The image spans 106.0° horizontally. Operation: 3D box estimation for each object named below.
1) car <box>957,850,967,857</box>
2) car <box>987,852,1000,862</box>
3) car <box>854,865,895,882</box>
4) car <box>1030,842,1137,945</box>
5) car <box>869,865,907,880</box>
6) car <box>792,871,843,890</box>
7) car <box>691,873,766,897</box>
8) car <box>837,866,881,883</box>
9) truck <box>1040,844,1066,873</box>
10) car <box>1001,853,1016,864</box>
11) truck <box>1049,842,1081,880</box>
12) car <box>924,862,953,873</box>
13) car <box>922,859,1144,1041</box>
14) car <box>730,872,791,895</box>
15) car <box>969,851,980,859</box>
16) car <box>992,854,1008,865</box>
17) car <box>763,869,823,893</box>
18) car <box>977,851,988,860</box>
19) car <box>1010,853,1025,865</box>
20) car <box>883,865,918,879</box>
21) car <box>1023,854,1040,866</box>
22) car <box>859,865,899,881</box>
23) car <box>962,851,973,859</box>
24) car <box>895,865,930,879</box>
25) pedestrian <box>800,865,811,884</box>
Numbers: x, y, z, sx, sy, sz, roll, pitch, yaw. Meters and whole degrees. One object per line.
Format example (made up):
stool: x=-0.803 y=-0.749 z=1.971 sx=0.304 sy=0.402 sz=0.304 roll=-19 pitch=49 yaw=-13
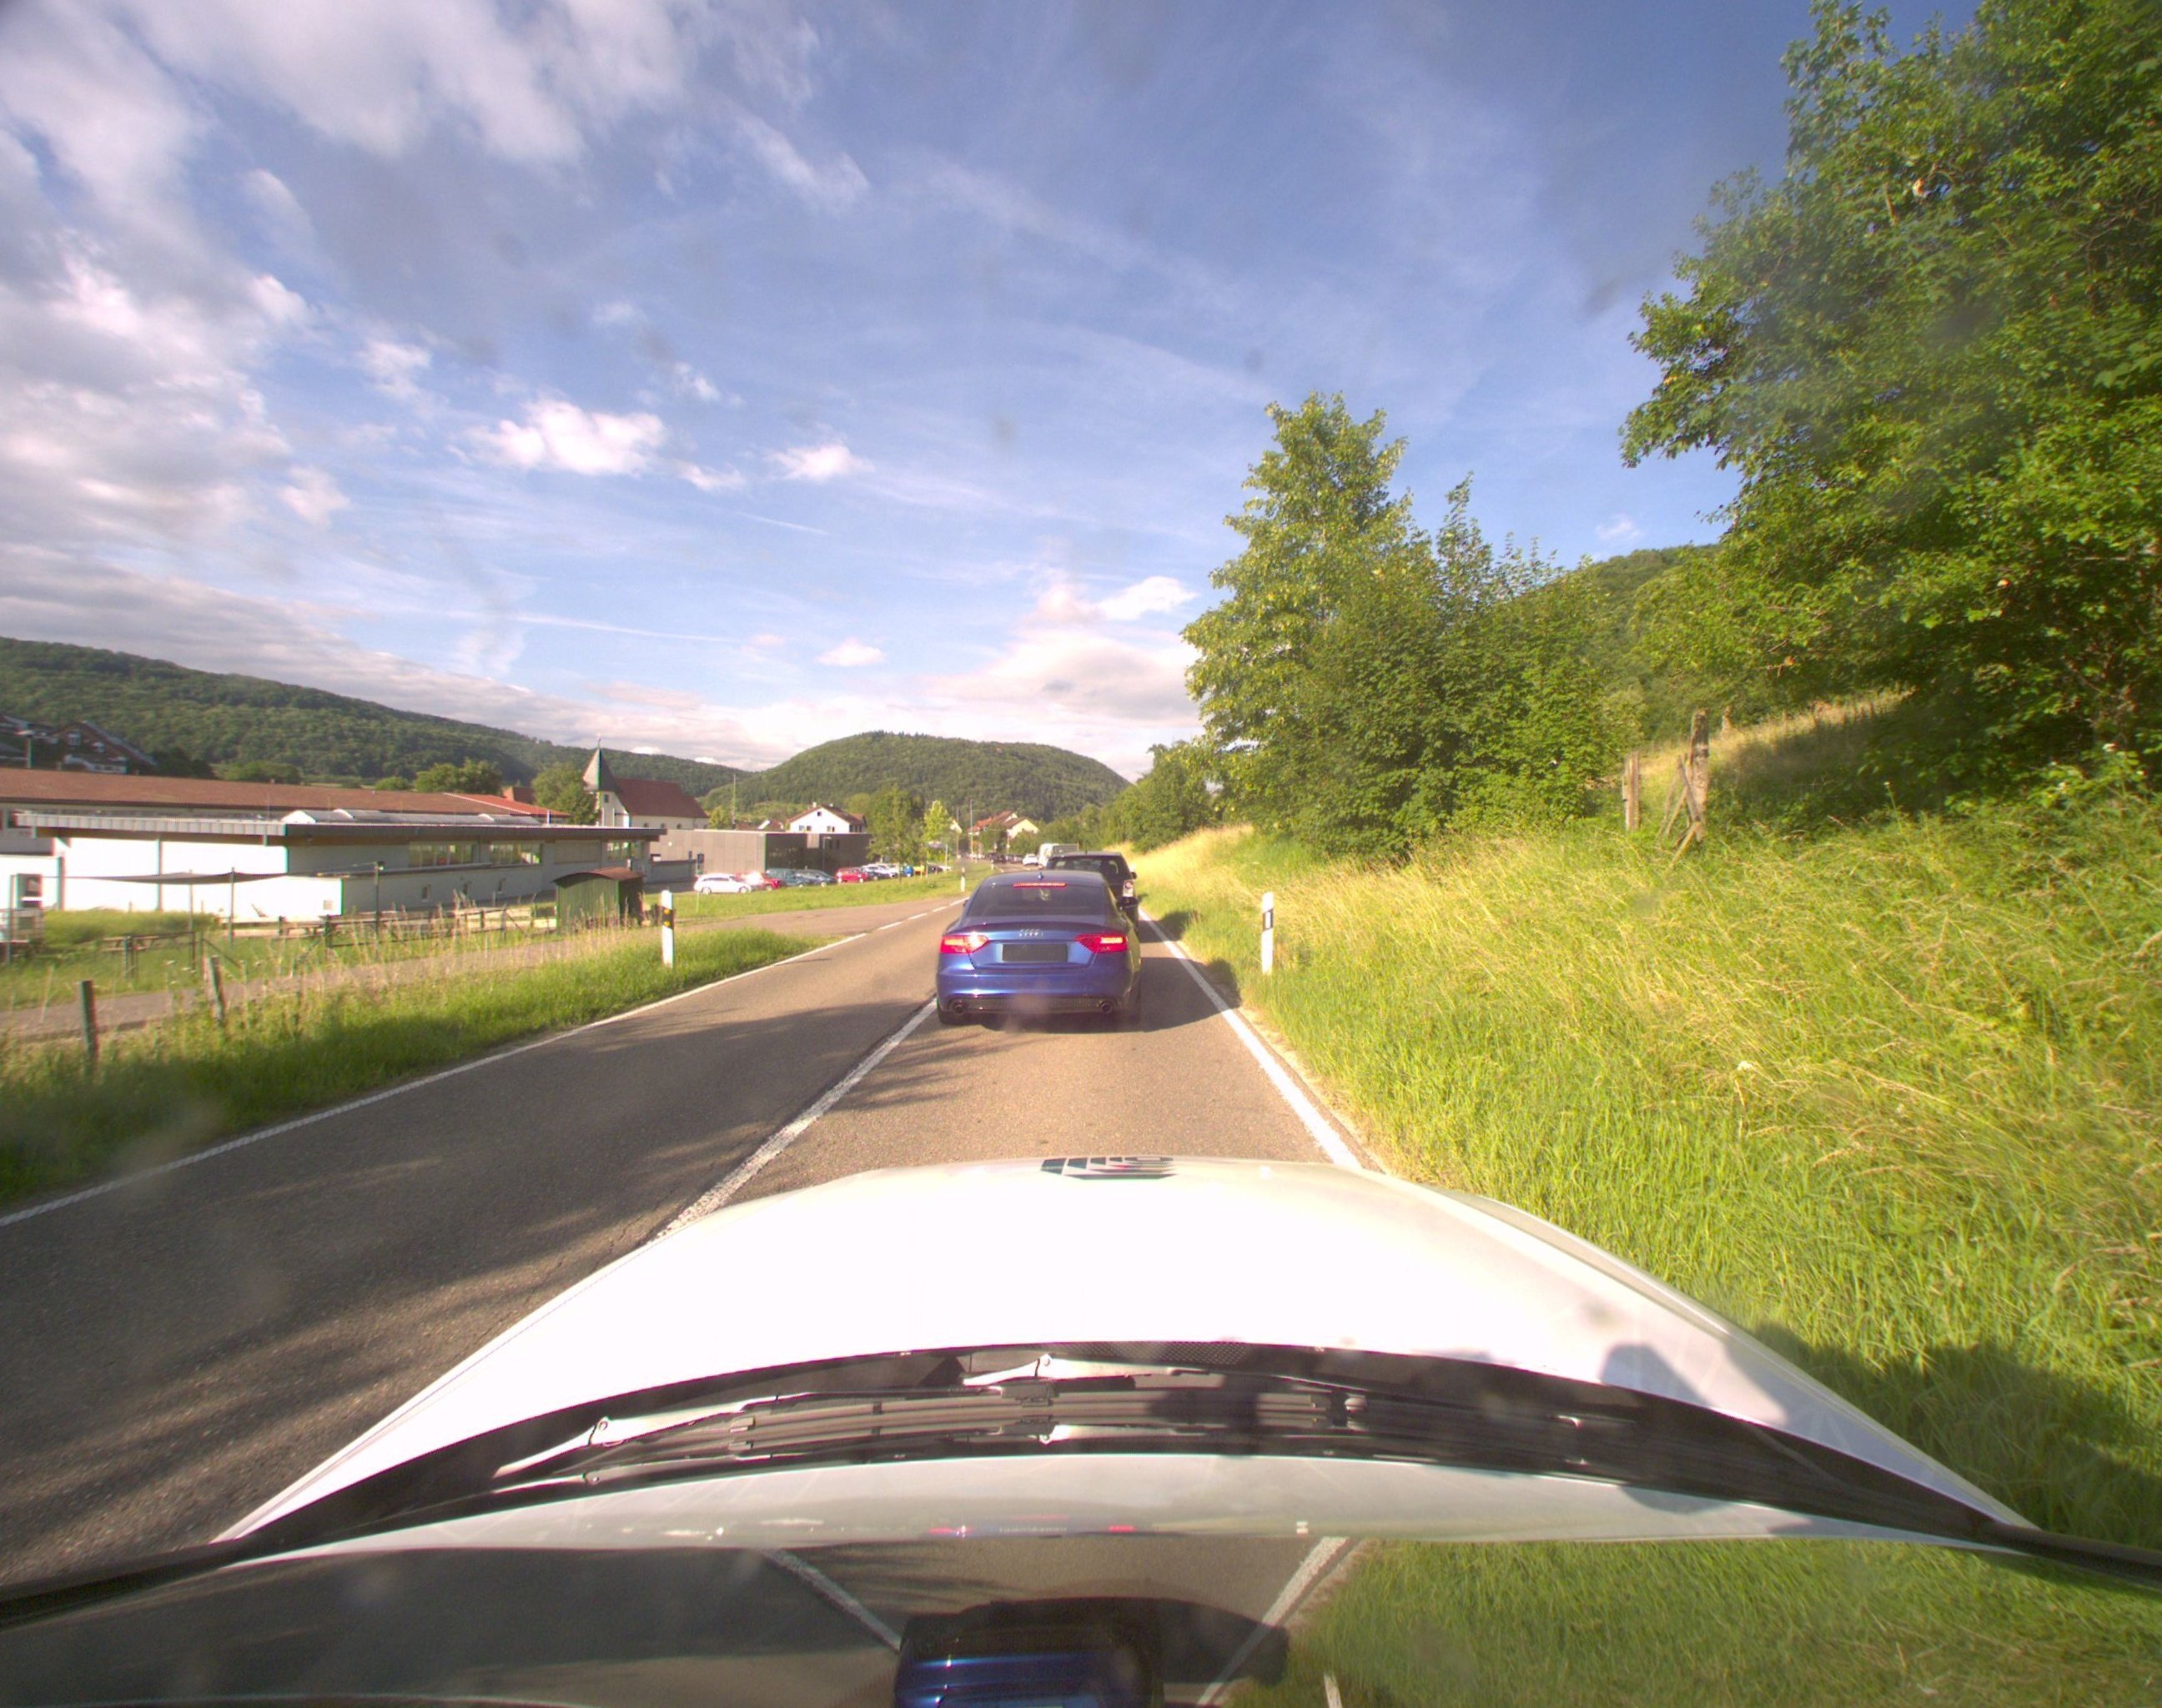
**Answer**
car: x=-28.339 y=-0.053 z=193.332 sx=1.849 sy=1.712 sz=3.978 roll=0 pitch=-1 yaw=-16
car: x=-16.444 y=0.544 z=152.936 sx=1.848 sy=1.712 sz=3.980 roll=0 pitch=-1 yaw=-14
car: x=-22.662 y=2.128 z=89.312 sx=3.975 sy=1.711 sz=1.999 roll=0 pitch=-1 yaw=-1
car: x=0.135 y=0.669 z=15.263 sx=1.747 sy=1.681 sz=3.849 roll=0 pitch=-1 yaw=3
car: x=-22.814 y=2.193 z=96.261 sx=3.975 sy=1.711 sz=1.999 roll=0 pitch=-1 yaw=-1
car: x=-24.101 y=2.422 z=74.489 sx=3.975 sy=1.711 sz=1.999 roll=0 pitch=-1 yaw=-1
car: x=-26.439 y=2.319 z=61.214 sx=4.717 sy=1.711 sz=1.999 roll=0 pitch=-1 yaw=-1
car: x=-23.105 y=2.090 z=84.771 sx=3.975 sy=1.711 sz=1.999 roll=0 pitch=-1 yaw=-1
truck: x=-2.661 y=0.421 z=75.199 sx=2.225 sy=2.570 sz=6.699 roll=0 pitch=-1 yaw=-3
car: x=-11.935 y=0.793 z=133.526 sx=1.848 sy=1.712 sz=3.980 roll=0 pitch=-1 yaw=-14
truck: x=-1.230 y=0.514 z=59.470 sx=2.224 sy=2.570 sz=6.098 roll=0 pitch=-1 yaw=-2
car: x=-20.824 y=1.943 z=119.258 sx=3.975 sy=1.579 sz=1.752 roll=0 pitch=-1 yaw=-1
car: x=-0.288 y=0.774 z=8.339 sx=1.747 sy=1.430 sz=3.849 roll=0 pitch=-1 yaw=3
car: x=-25.216 y=2.337 z=64.195 sx=3.975 sy=1.711 sz=1.999 roll=0 pitch=-1 yaw=-1
car: x=-23.170 y=0.184 z=176.623 sx=1.850 sy=1.712 sz=3.978 roll=0 pitch=-1 yaw=-16
car: x=-12.286 y=0.821 z=123.573 sx=1.847 sy=1.712 sz=3.982 roll=0 pitch=-1 yaw=-13
car: x=-24.716 y=2.318 z=69.998 sx=4.393 sy=2.008 sz=1.999 roll=0 pitch=-1 yaw=-1
car: x=-20.328 y=0.362 z=167.934 sx=1.849 sy=1.712 sz=3.978 roll=0 pitch=-1 yaw=-16
car: x=-9.574 y=0.790 z=122.494 sx=1.847 sy=1.712 sz=3.983 roll=0 pitch=-1 yaw=-12
car: x=-22.569 y=2.244 z=102.046 sx=3.975 sy=1.711 sz=1.999 roll=0 pitch=-1 yaw=-1
car: x=-6.394 y=0.817 z=105.213 sx=1.845 sy=1.482 sz=3.987 roll=0 pitch=-1 yaw=-9
car: x=-23.021 y=2.164 z=92.979 sx=3.975 sy=1.711 sz=1.999 roll=0 pitch=-1 yaw=-1
car: x=-25.795 y=0.316 z=185.589 sx=1.850 sy=1.712 sz=3.977 roll=0 pitch=-1 yaw=-17
car: x=-21.654 y=2.261 z=104.700 sx=3.975 sy=1.711 sz=1.999 roll=0 pitch=-1 yaw=-1
pedestrian: x=-29.350 y=2.216 z=86.871 sx=0.822 sy=2.014 sz=0.973 roll=0 pitch=-1 yaw=1
